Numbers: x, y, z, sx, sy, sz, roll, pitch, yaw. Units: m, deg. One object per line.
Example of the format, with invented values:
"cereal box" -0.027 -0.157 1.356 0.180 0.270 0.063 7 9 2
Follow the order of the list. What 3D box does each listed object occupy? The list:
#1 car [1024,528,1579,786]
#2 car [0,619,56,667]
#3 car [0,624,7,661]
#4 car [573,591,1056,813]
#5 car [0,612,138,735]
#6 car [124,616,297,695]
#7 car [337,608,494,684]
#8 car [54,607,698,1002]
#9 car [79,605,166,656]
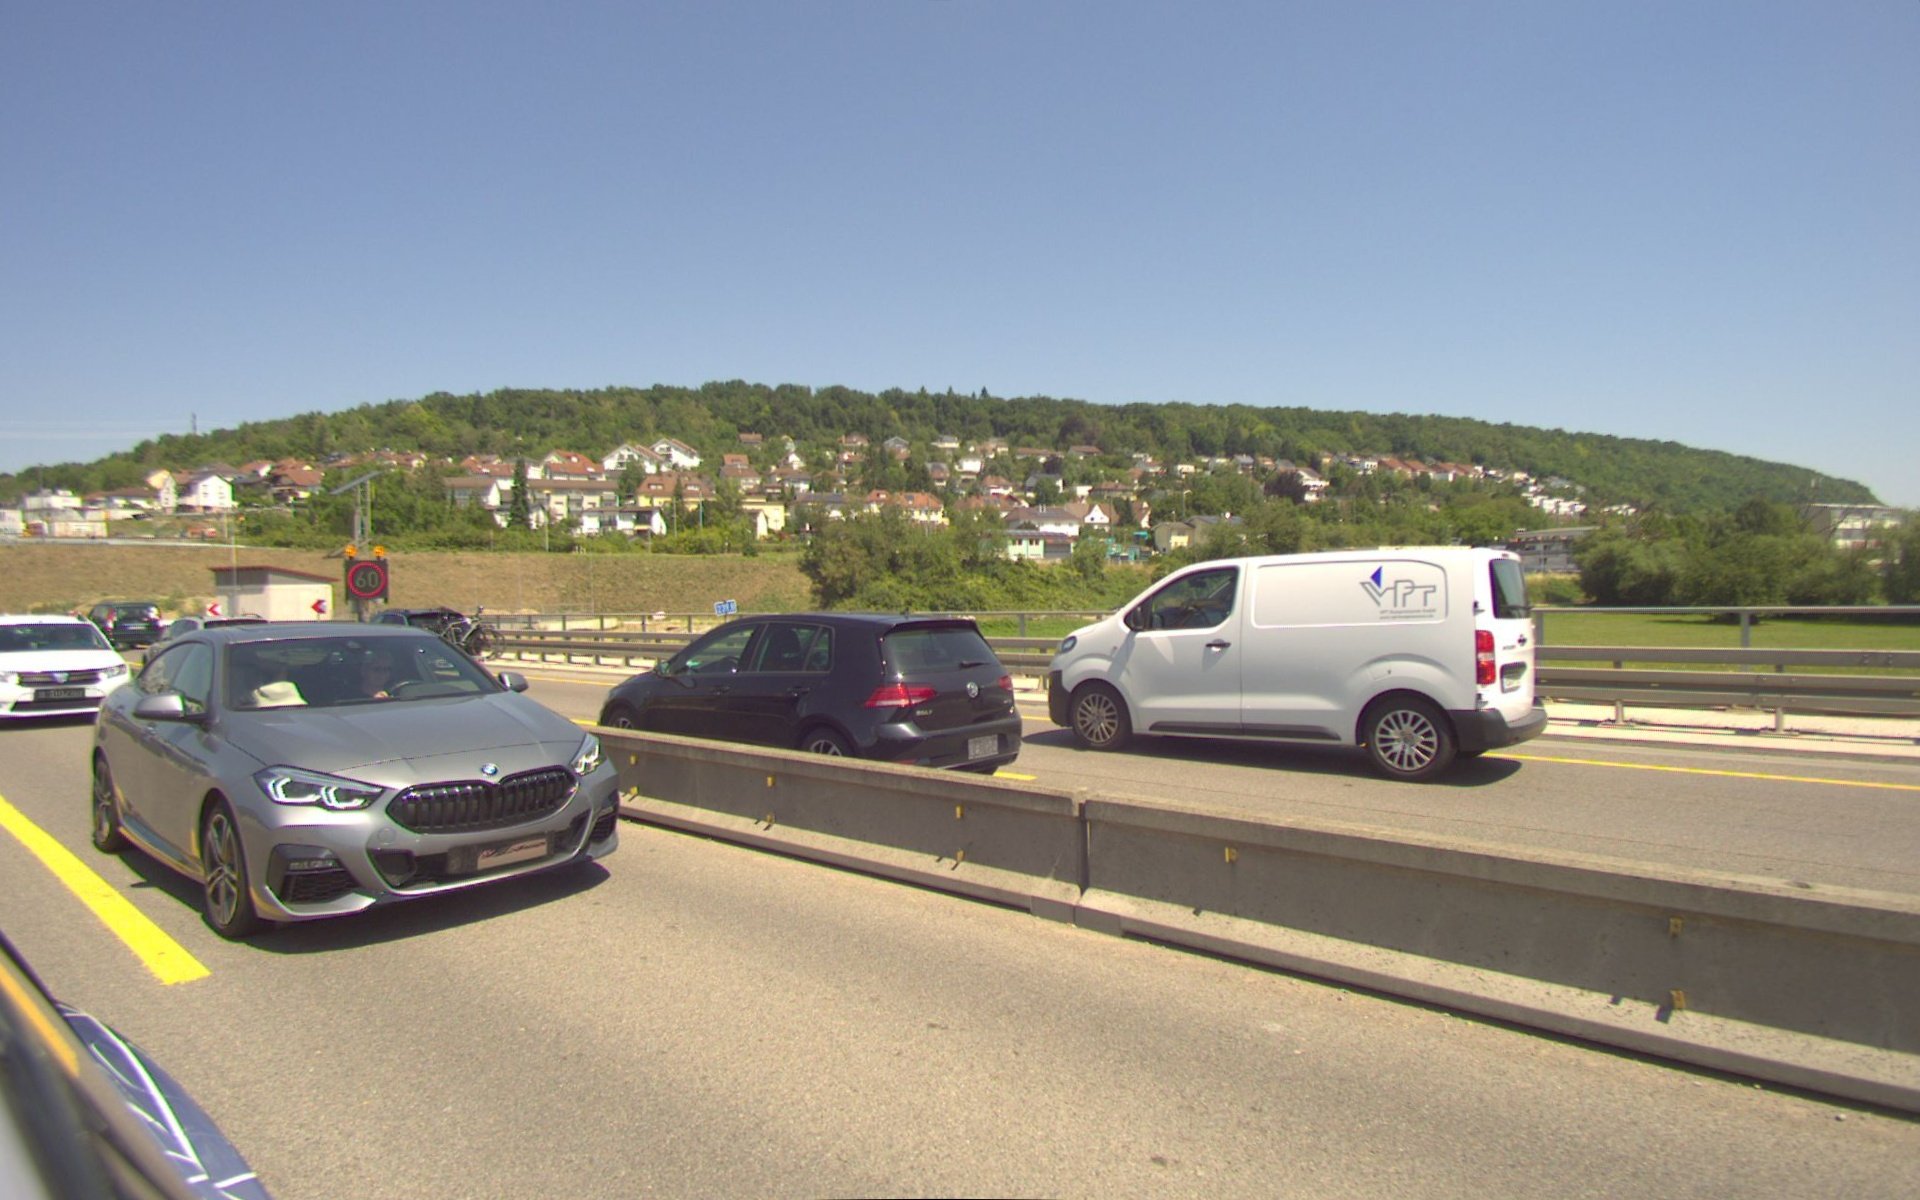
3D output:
"car" 3.012 0.471 9.588 4.626 1.882 1.840 -2 -2 40
"car" -33.745 1.487 36.064 4.082 1.594 1.723 -1 -1 40
"car" -41.111 1.761 42.072 4.082 1.484 1.723 -1 -2 40
"car" -1.377 0.710 8.398 4.153 1.402 1.661 -2 -3 41
"car" -13.711 0.966 14.908 4.705 1.542 1.799 -1 0 42
"car" -15.178 1.069 20.399 4.654 1.429 1.807 -2 -3 41
"car" -12.431 1.011 23.015 3.997 1.581 1.795 -2 -2 40
"car" -3.731 0.813 6.007 4.738 1.463 1.833 -2 -1 40
"car" -34.680 1.253 41.853 4.935 1.948 1.904 -2 0 40
